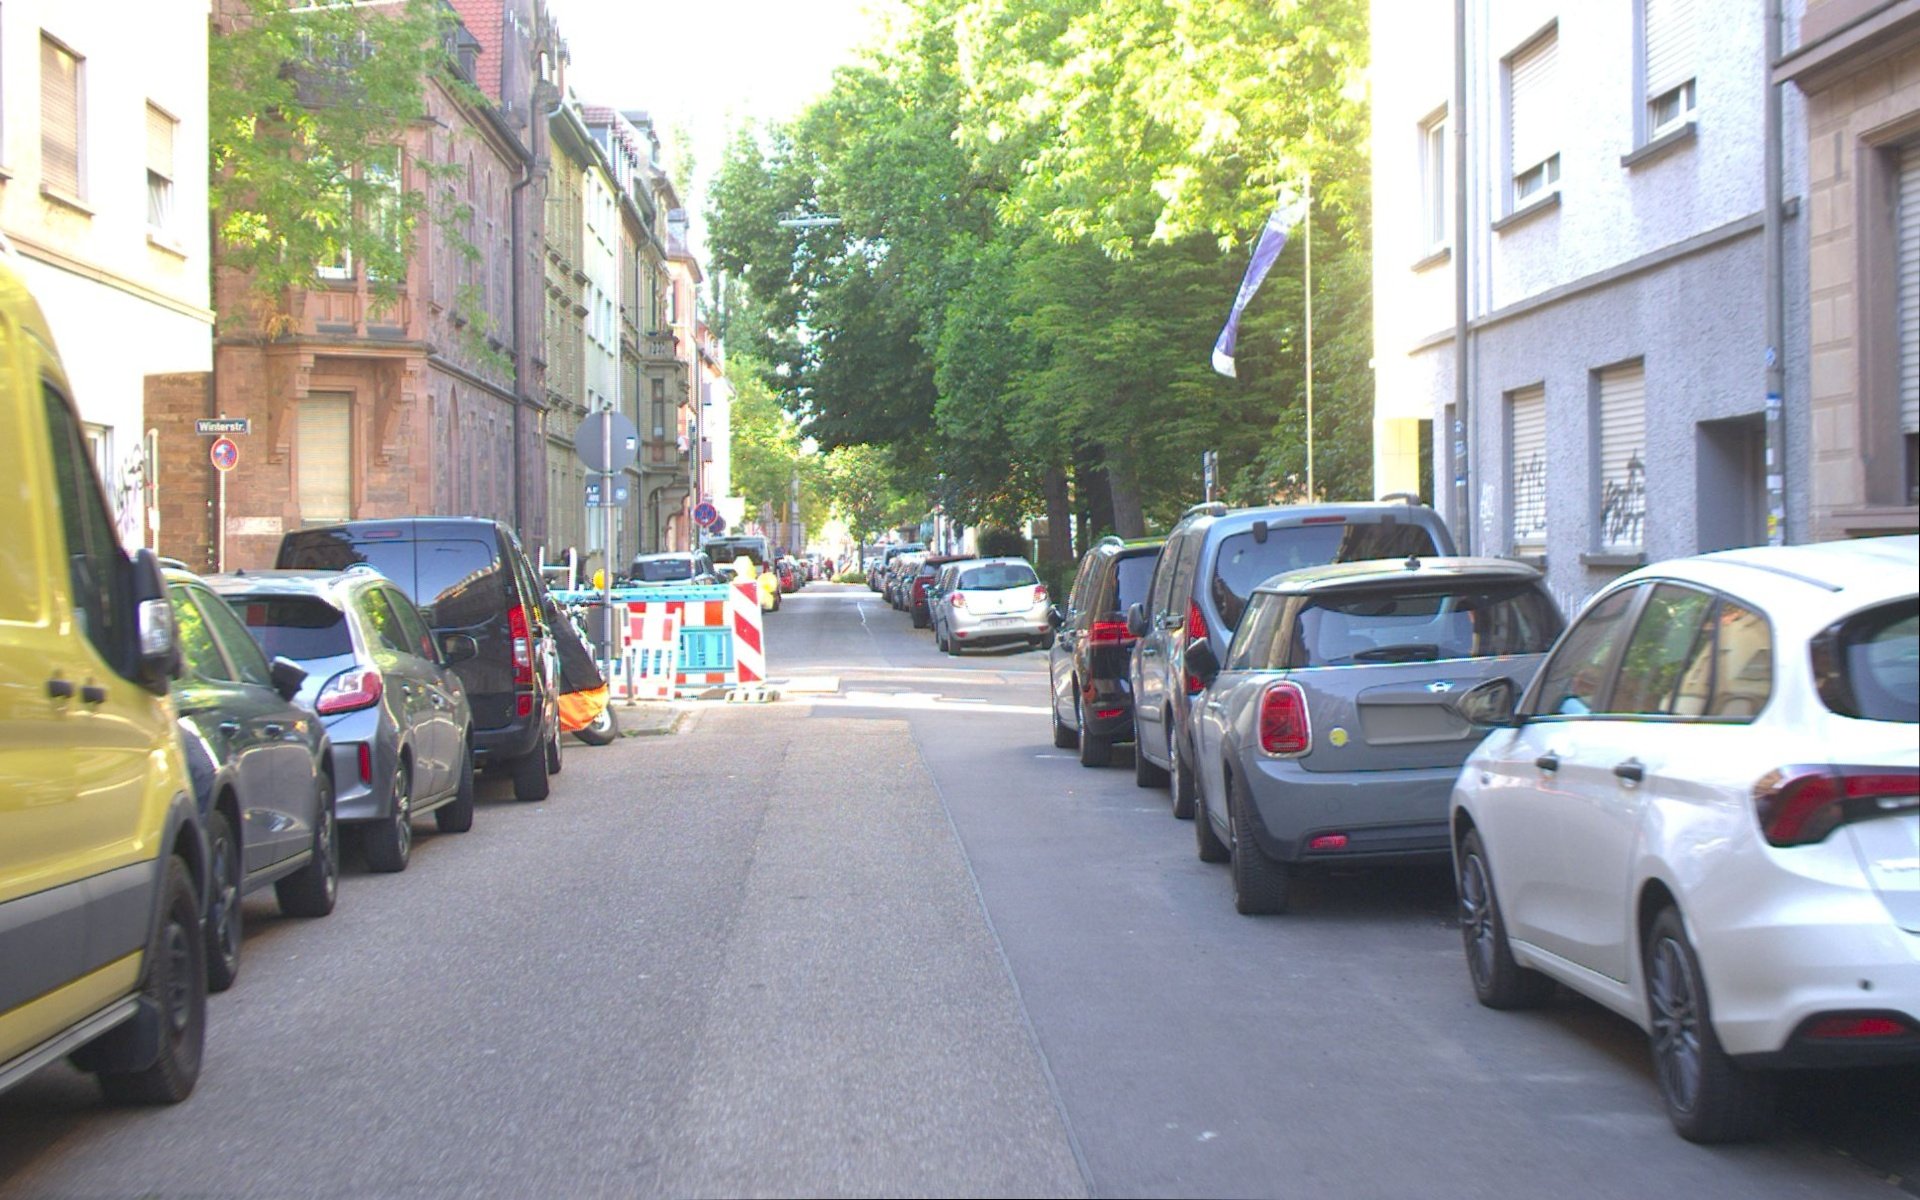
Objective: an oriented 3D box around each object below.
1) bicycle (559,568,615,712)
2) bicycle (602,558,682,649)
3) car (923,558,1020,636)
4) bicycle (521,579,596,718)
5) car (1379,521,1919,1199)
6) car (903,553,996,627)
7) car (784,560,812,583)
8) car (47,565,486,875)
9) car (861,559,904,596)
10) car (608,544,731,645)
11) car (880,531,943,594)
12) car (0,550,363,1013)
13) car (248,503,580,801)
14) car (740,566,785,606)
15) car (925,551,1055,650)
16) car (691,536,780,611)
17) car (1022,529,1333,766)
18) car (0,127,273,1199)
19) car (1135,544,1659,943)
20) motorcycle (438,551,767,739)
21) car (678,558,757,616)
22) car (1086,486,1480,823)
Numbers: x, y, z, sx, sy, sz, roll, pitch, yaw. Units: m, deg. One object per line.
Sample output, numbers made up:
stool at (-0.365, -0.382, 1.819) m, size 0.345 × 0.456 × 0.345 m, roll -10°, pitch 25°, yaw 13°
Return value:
bicycle at (-3.348, 0.344, 30.940) m, size 0.399 × 1.223 × 1.505 m, roll -1°, pitch 2°, yaw -3°
bicycle at (-4.802, 0.038, 51.732) m, size 0.682 × 1.340 × 2.503 m, roll 0°, pitch 1°, yaw -17°
car at (0.221, -0.084, 71.916) m, size 1.841 × 1.590 × 4.000 m, roll 0°, pitch 1°, yaw -3°
bicycle at (-3.449, 0.401, 29.613) m, size 0.425 × 1.136 × 1.666 m, roll 2°, pitch 1°, yaw -1°
car at (2.534, 0.583, 10.071) m, size 1.753 × 1.513 × 4.444 m, roll -4°, pitch 1°, yaw -3°
car at (-0.266, -0.226, 76.735) m, size 1.894 × 1.620 × 4.000 m, roll 0°, pitch 0°, yaw -3°
car at (-11.632, -2.013, 246.637) m, size 1.993 × 1.641 × 4.000 m, roll 0°, pitch 0°, yaw -2°
car at (-3.528, 0.549, 18.061) m, size 1.677 × 1.444 × 3.645 m, roll 0°, pitch 1°, yaw -2°
car at (-3.716, -1.081, 164.595) m, size 1.993 × 1.722 × 4.000 m, roll -1°, pitch 1°, yaw -2°
car at (-5.154, -0.103, 61.419) m, size 1.882 × 1.701 × 4.000 m, roll -2°, pitch 0°, yaw -1°
car at (-1.827, -1.377, 127.221) m, size 2.160 × 2.248 × 4.526 m, roll 0°, pitch 0°, yaw -3°
car at (-3.630, 0.592, 13.557) m, size 1.993 × 1.546 × 4.001 m, roll -1°, pitch 1°, yaw -2°
car at (-3.476, 0.280, 22.562) m, size 1.818 × 1.760 × 4.336 m, roll 0°, pitch 1°, yaw -5°
car at (-8.604, -0.599, 149.630) m, size 1.950 × 1.703 × 4.000 m, roll 0°, pitch 0°, yaw -3°
car at (0.449, -0.015, 55.549) m, size 1.723 × 1.517 × 4.001 m, roll -1°, pitch 1°, yaw -5°
car at (-6.455, -0.770, 99.462) m, size 2.309 × 2.107 × 5.170 m, roll 0°, pitch 0°, yaw -1°
car at (1.551, 0.316, 26.047) m, size 1.900 × 1.634 × 4.391 m, roll 0°, pitch 0°, yaw -2°
car at (-3.178, 0.239, 7.808) m, size 2.175 × 2.499 × 5.879 m, roll -3°, pitch 1°, yaw -2°
car at (1.866, 0.540, 15.945) m, size 1.754 × 1.448 × 4.288 m, roll -4°, pitch 1°, yaw 0°
motorcycle at (-2.904, 0.344, 28.037) m, size 2.512 × 1.477 × 0.904 m, roll 0°, pitch 1°, yaw -28°
car at (-5.768, -0.321, 82.162) m, size 1.771 × 1.349 × 4.000 m, roll 0°, pitch 1°, yaw -2°
car at (1.876, 0.254, 21.381) m, size 1.753 × 1.780 × 4.724 m, roll -3°, pitch 1°, yaw -2°
